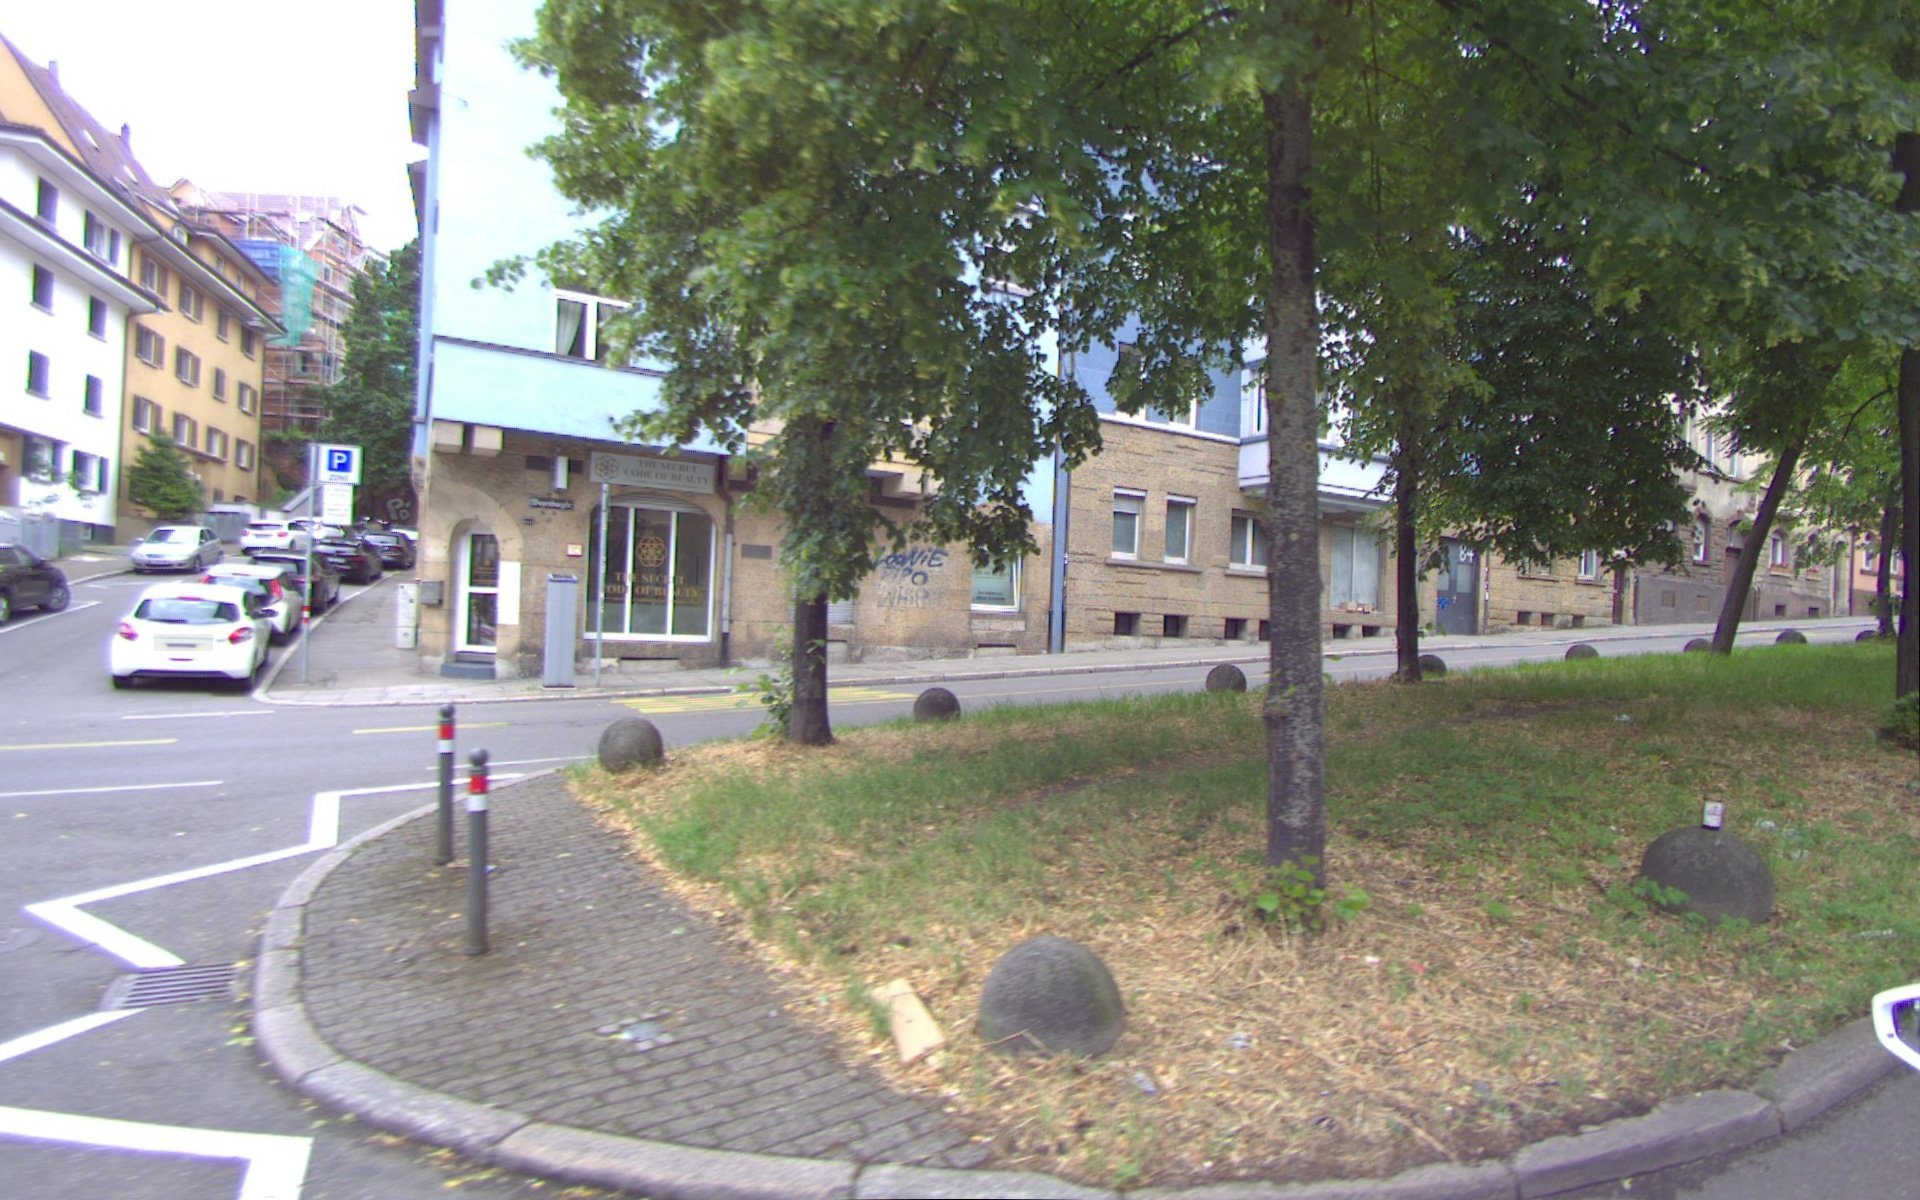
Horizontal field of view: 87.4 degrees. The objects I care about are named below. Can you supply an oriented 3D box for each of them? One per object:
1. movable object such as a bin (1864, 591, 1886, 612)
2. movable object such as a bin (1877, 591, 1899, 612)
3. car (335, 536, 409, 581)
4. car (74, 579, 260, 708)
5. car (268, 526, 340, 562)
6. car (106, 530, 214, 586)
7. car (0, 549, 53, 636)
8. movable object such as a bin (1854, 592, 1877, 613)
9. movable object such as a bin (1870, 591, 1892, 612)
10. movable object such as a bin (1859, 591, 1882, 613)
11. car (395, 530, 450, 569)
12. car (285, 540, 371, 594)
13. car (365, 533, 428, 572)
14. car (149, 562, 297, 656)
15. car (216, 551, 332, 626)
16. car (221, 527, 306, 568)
[{"bbox_3d":[40.846,0.082,44.828,0.595,0.916,0.605,-1,2,-34],"label":"movable object such as a bin"},{"bbox_3d":[42.100,0.072,45.579,0.595,0.916,0.605,-1,2,-34],"label":"movable object such as a bin"},{"bbox_3d":[-23.308,-1.680,39.949,1.773,1.531,3.981,2,4,-20],"label":"car"},{"bbox_3d":[-12.293,0.597,15.823,1.851,1.489,3.973,3,4,-33],"label":"car"},{"bbox_3d":[-30.817,-2.664,47.300,1.771,1.531,3.984,2,4,-17],"label":"car"},{"bbox_3d":[-25.614,-1.385,32.317,1.776,1.531,3.974,1,4,-25],"label":"car"},{"bbox_3d":[-19.656,-0.153,19.667,1.777,1.531,3.972,1,4,-26],"label":"car"},{"bbox_3d":[39.756,0.090,44.108,0.595,0.916,0.605,-1,2,-34],"label":"movable object such as a bin"},{"bbox_3d":[41.471,0.078,45.236,0.595,0.916,0.605,-1,2,-34],"label":"movable object such as a bin"},{"bbox_3d":[40.287,0.084,44.444,0.595,0.916,0.605,-1,2,-34],"label":"movable object such as a bin"},{"bbox_3d":[-26.469,-2.503,49.539,1.773,1.689,3.981,2,4,-20],"label":"car"},{"bbox_3d":[-21.149,-1.150,33.749,1.774,1.531,3.977,2,4,-23],"label":"car"},{"bbox_3d":[-25.072,-2.140,44.828,1.773,1.531,3.981,2,4,-20],"label":"car"},{"bbox_3d":[-14.915,0.113,20.545,1.943,1.489,4.120,1,4,-30],"label":"car"},{"bbox_3d":[-16.970,-0.325,25.022,1.776,1.531,3.973,1,4,-26],"label":"car"},{"bbox_3d":[-29.064,-2.240,42.055,1.771,1.531,3.984,2,4,-17],"label":"car"}]
